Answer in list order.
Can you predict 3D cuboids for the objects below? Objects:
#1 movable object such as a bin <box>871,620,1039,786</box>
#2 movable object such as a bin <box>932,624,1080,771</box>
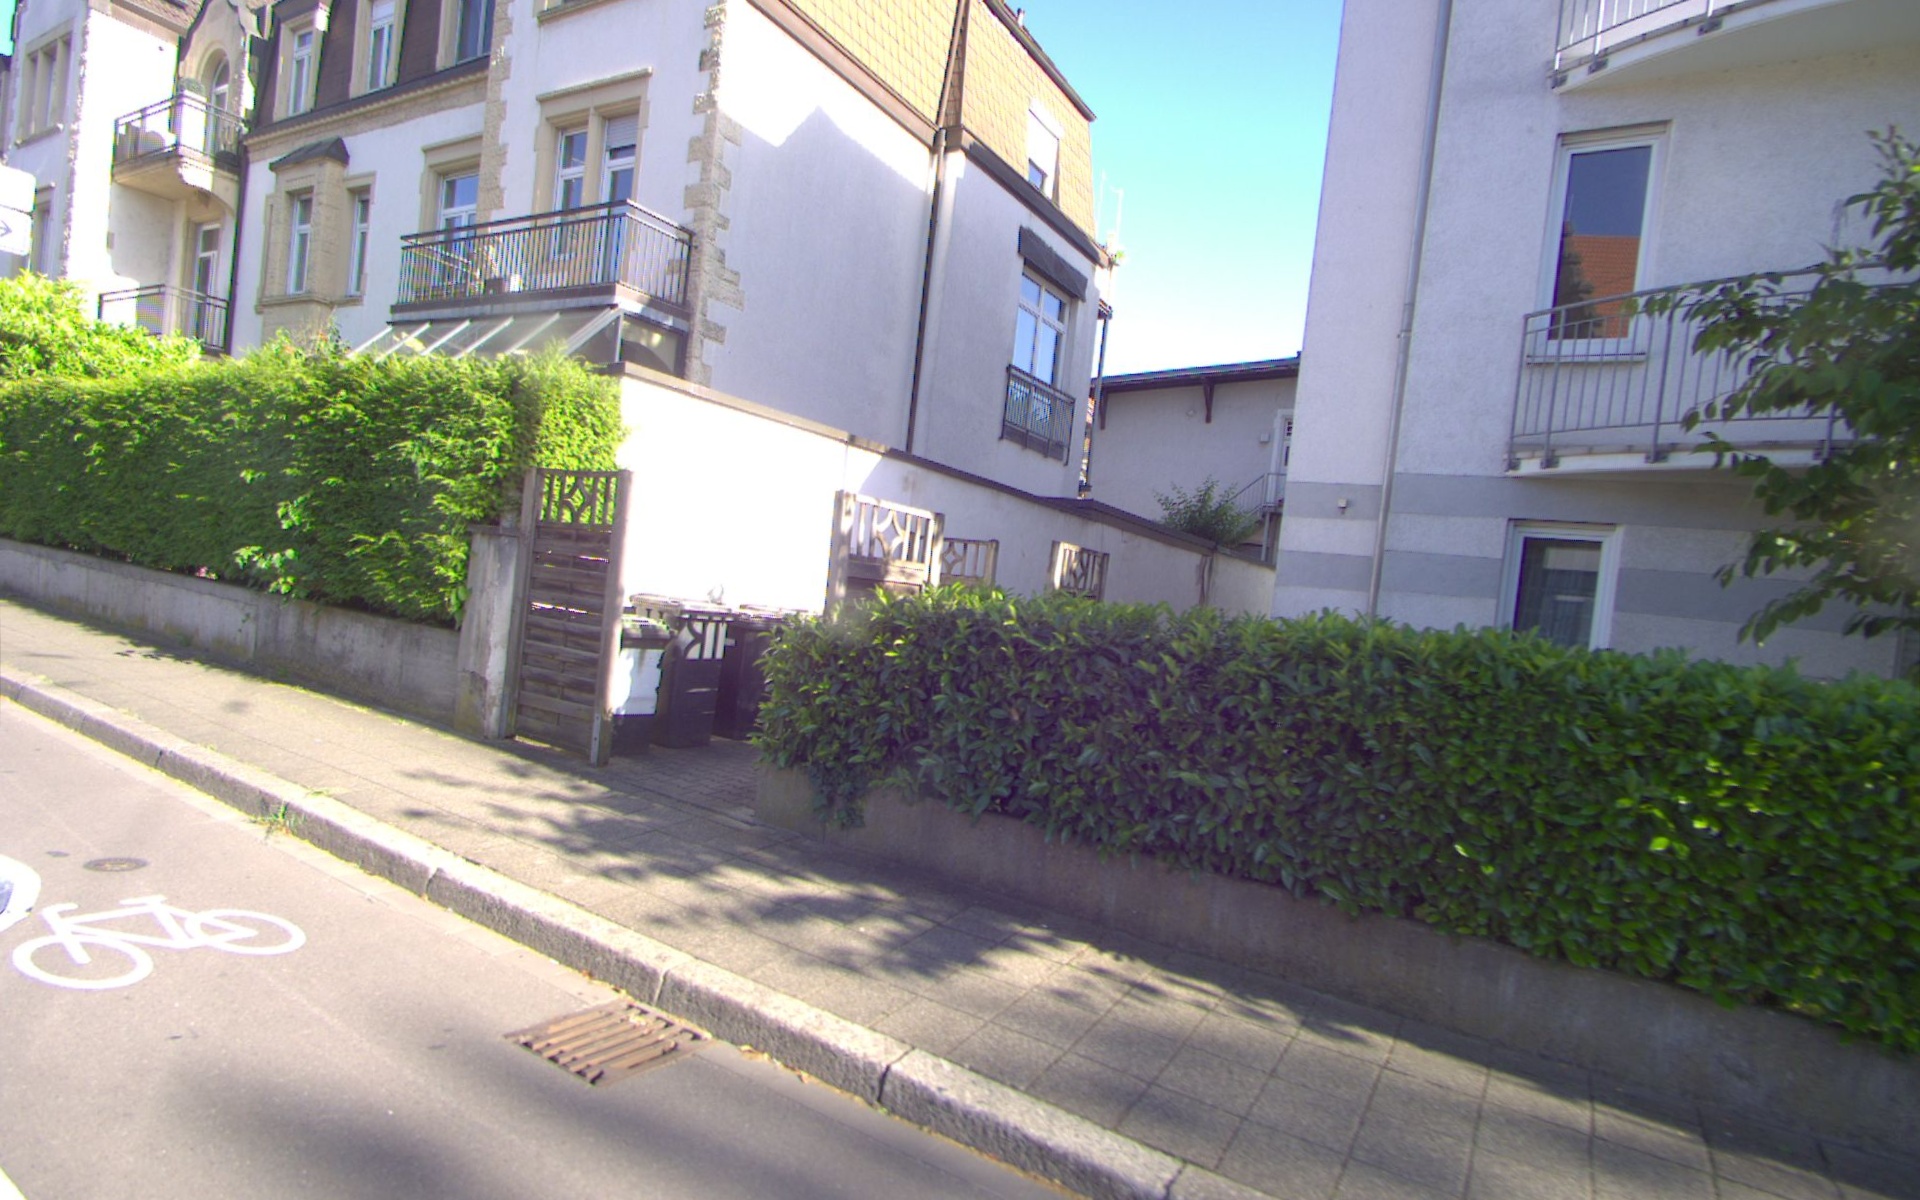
[{"bbox_3d":[-0.023,0.765,7.734,0.800,1.097,0.972,7,0,32],"label":"movable object such as a bin"},{"bbox_3d":[0.408,0.814,8.636,0.800,1.097,0.972,7,0,32],"label":"movable object such as a bin"}]
